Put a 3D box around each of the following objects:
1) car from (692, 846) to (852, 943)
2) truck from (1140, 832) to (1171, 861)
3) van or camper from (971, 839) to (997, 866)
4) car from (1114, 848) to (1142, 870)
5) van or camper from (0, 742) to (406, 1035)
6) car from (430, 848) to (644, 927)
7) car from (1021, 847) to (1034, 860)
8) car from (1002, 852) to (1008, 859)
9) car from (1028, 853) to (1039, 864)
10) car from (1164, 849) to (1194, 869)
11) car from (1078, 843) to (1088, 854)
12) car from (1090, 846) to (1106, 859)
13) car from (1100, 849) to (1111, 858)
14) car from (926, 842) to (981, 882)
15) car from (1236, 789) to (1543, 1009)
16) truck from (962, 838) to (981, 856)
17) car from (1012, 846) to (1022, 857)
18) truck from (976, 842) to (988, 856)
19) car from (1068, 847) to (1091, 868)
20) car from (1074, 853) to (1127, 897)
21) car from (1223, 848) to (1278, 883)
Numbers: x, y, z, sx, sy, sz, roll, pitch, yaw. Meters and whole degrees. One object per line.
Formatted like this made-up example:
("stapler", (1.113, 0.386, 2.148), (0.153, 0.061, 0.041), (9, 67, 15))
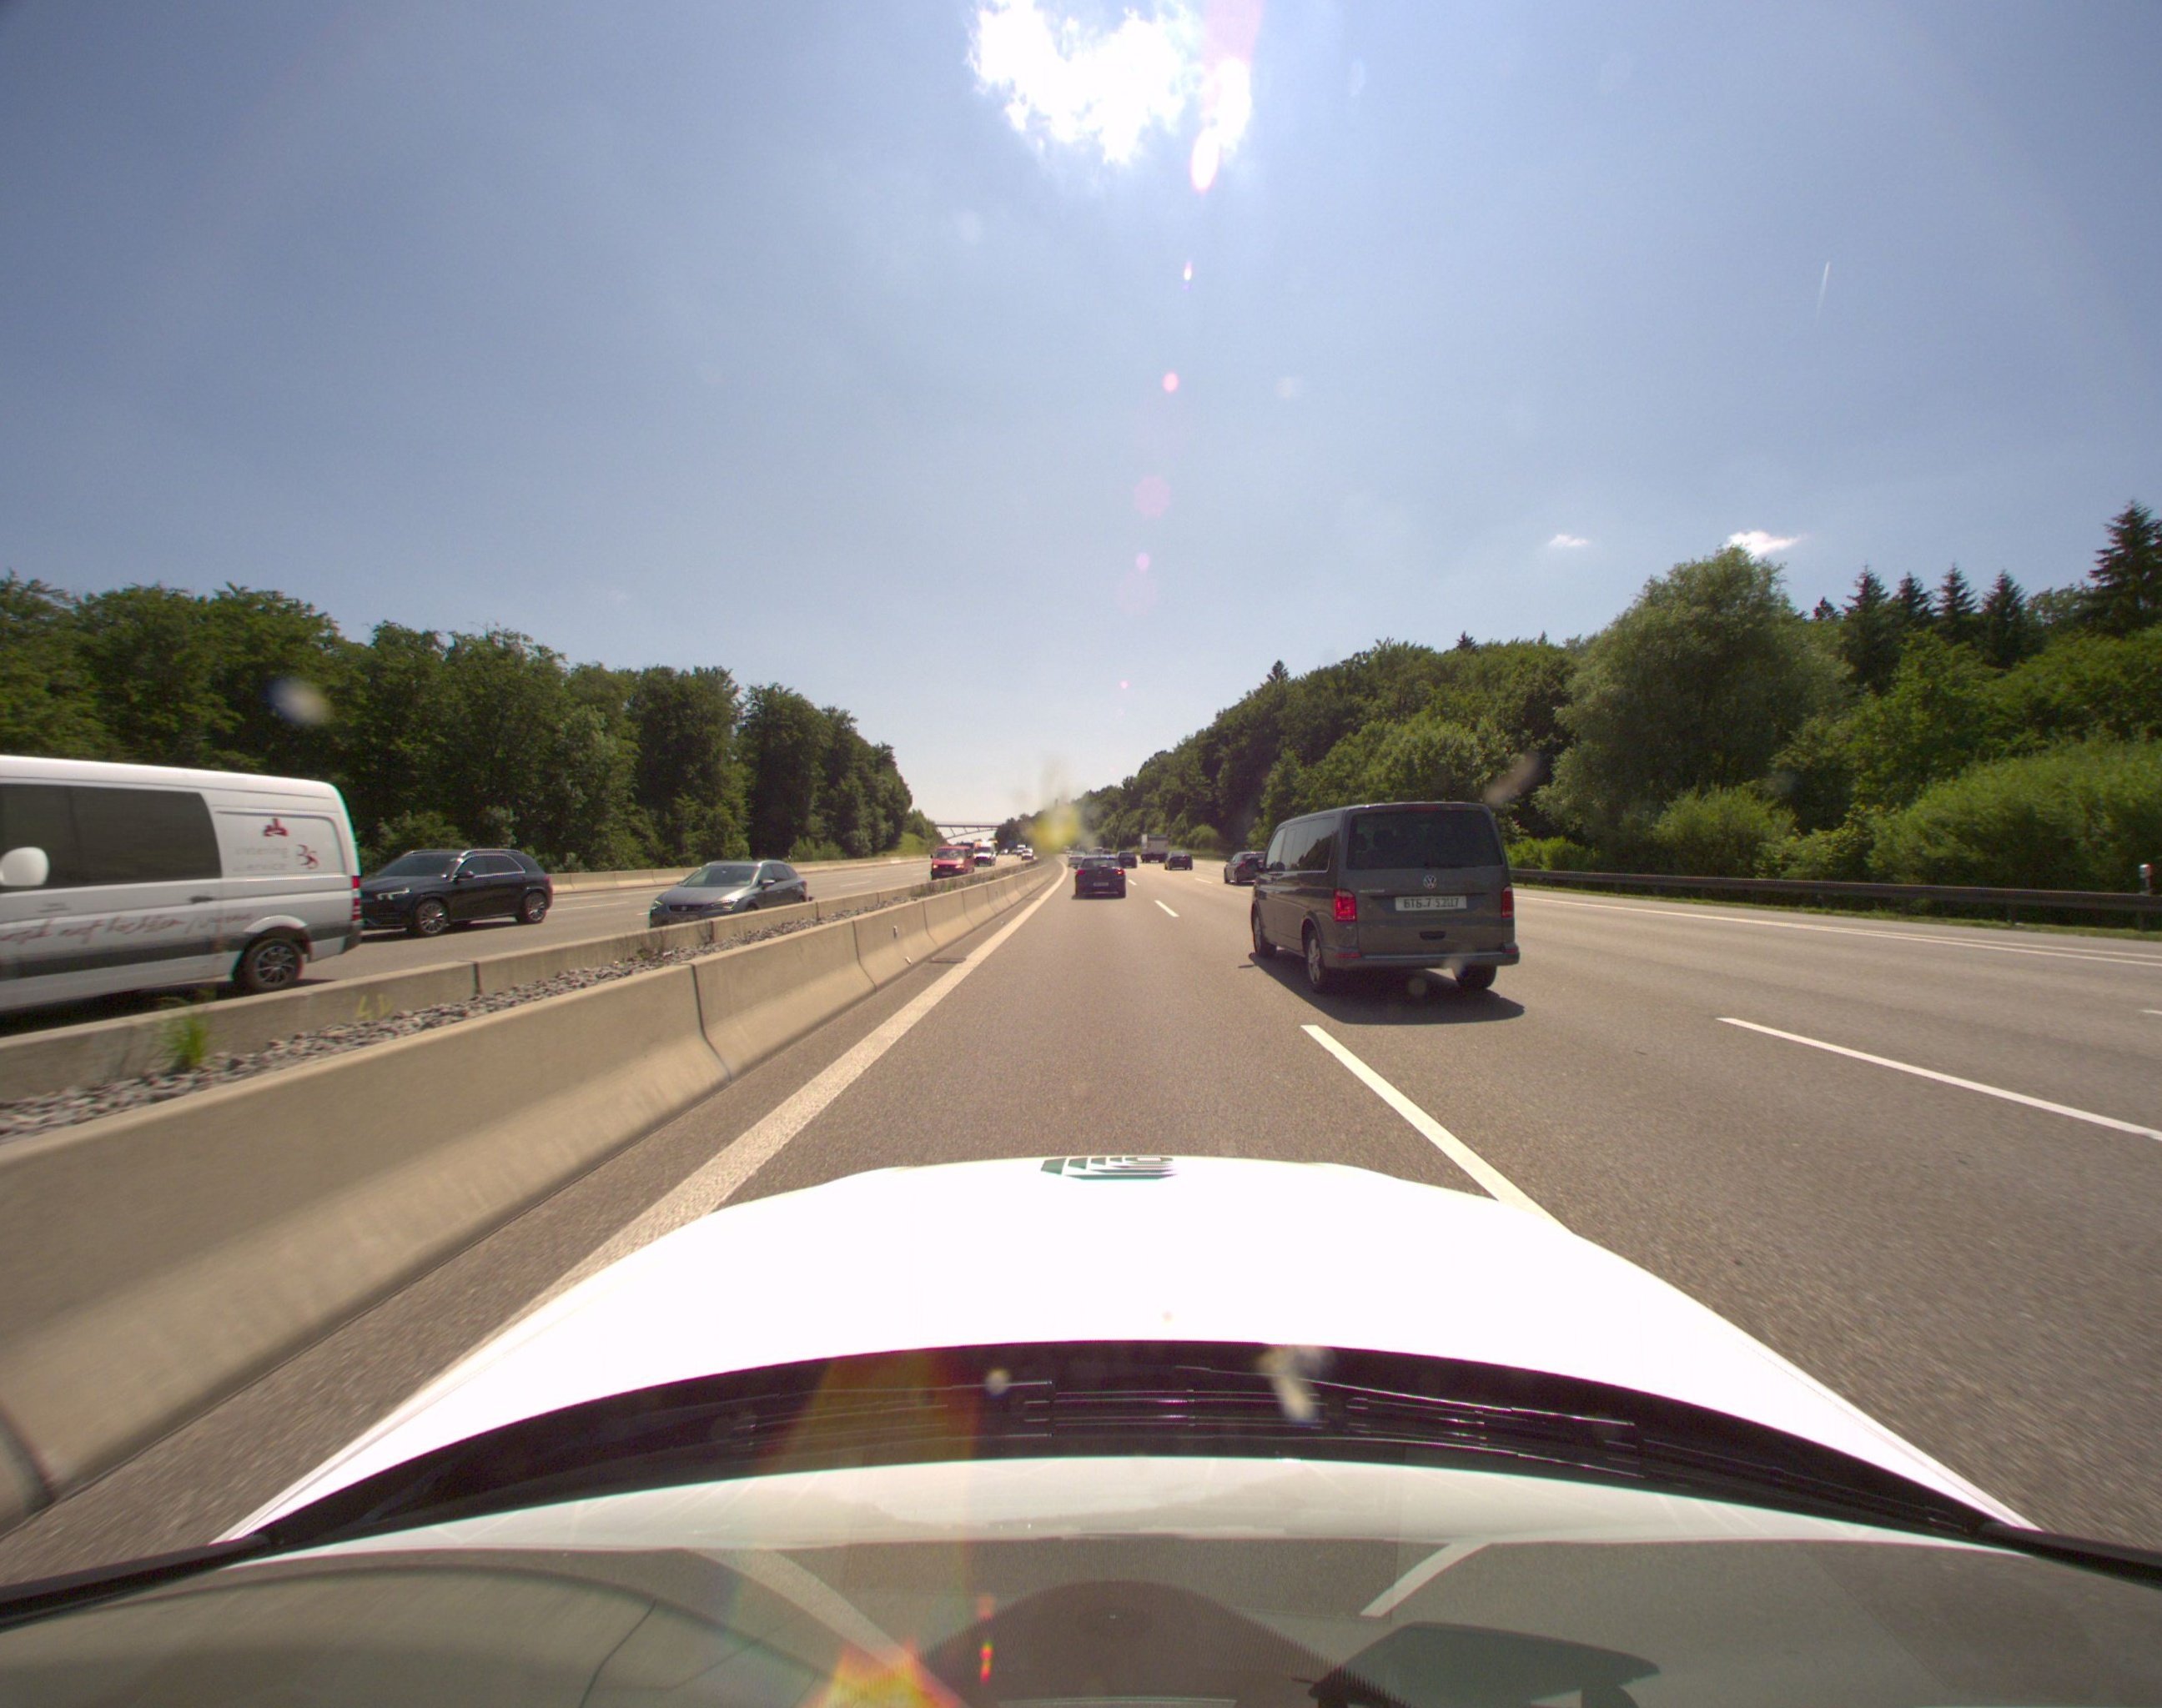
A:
("car", (-6.888, 0.875, 18.826), (1.764, 1.944, 5.084), (0, -1, -1))
("truck", (8.454, -0.842, 92.868), (2.975, 3.166, 7.576), (-1, 0, 1))
("van or camper", (-10.372, -0.128, 87.650), (1.987, 2.799, 7.411), (-1, 0, -1))
("car", (3.969, 0.480, 69.226), (1.988, 1.728, 4.145), (-1, -2, -2))
("van or camper", (-10.498, 0.315, 8.117), (2.092, 2.566, 6.401), (-1, 0, 1))
("car", (-13.697, 0.766, 21.001), (1.986, 1.762, 5.070), (-1, 0, 1))
("car", (-8.114, -0.069, 124.338), (1.814, 1.871, 4.585), (-1, 0, -2))
("car", (-22.252, 0.545, 237.699), (1.639, 2.014, 3.996), (0, -2, -2))
("car", (-9.691, 0.918, 167.014), (1.988, 2.014, 3.997), (0, -2, -1))
("car", (7.280, 0.373, 60.932), (1.660, 1.408, 4.903), (-1, 0, 0))
("car", (0.380, -1.287, 189.793), (2.258, 2.371, 4.700), (-1, -1, -1))
("car", (2.390, -0.258, 116.421), (2.097, 1.744, 4.686), (-1, 0, -1))
("car", (5.459, -0.052, 181.175), (2.139, 1.858, 3.998), (0, -1, -1))
("car", (-6.759, 0.399, 43.698), (2.229, 2.013, 4.229), (-1, 0, 0))
("car", (3.367, 0.421, 10.152), (1.956, 2.033, 5.084), (-1, 0, 1))
("truck", (-21.916, -1.299, 163.268), (2.602, 3.466, 9.875), (0, 0, -1))
("car", (-14.366, -0.576, 183.907), (2.150, 2.490, 4.696), (-1, 0, -3))
("truck", (-28.675, -1.529, 236.252), (2.744, 4.017, 6.744), (-1, 0, -3))
("car", (-0.078, 0.349, 78.868), (2.004, 1.846, 4.001), (-1, -3, 2))
("car", (0.670, 0.672, 28.415), (1.702, 1.433, 4.001), (0, 0, 1))
("car", (7.304, 0.473, 35.466), (1.695, 1.396, 4.156), (-1, 0, 3))
